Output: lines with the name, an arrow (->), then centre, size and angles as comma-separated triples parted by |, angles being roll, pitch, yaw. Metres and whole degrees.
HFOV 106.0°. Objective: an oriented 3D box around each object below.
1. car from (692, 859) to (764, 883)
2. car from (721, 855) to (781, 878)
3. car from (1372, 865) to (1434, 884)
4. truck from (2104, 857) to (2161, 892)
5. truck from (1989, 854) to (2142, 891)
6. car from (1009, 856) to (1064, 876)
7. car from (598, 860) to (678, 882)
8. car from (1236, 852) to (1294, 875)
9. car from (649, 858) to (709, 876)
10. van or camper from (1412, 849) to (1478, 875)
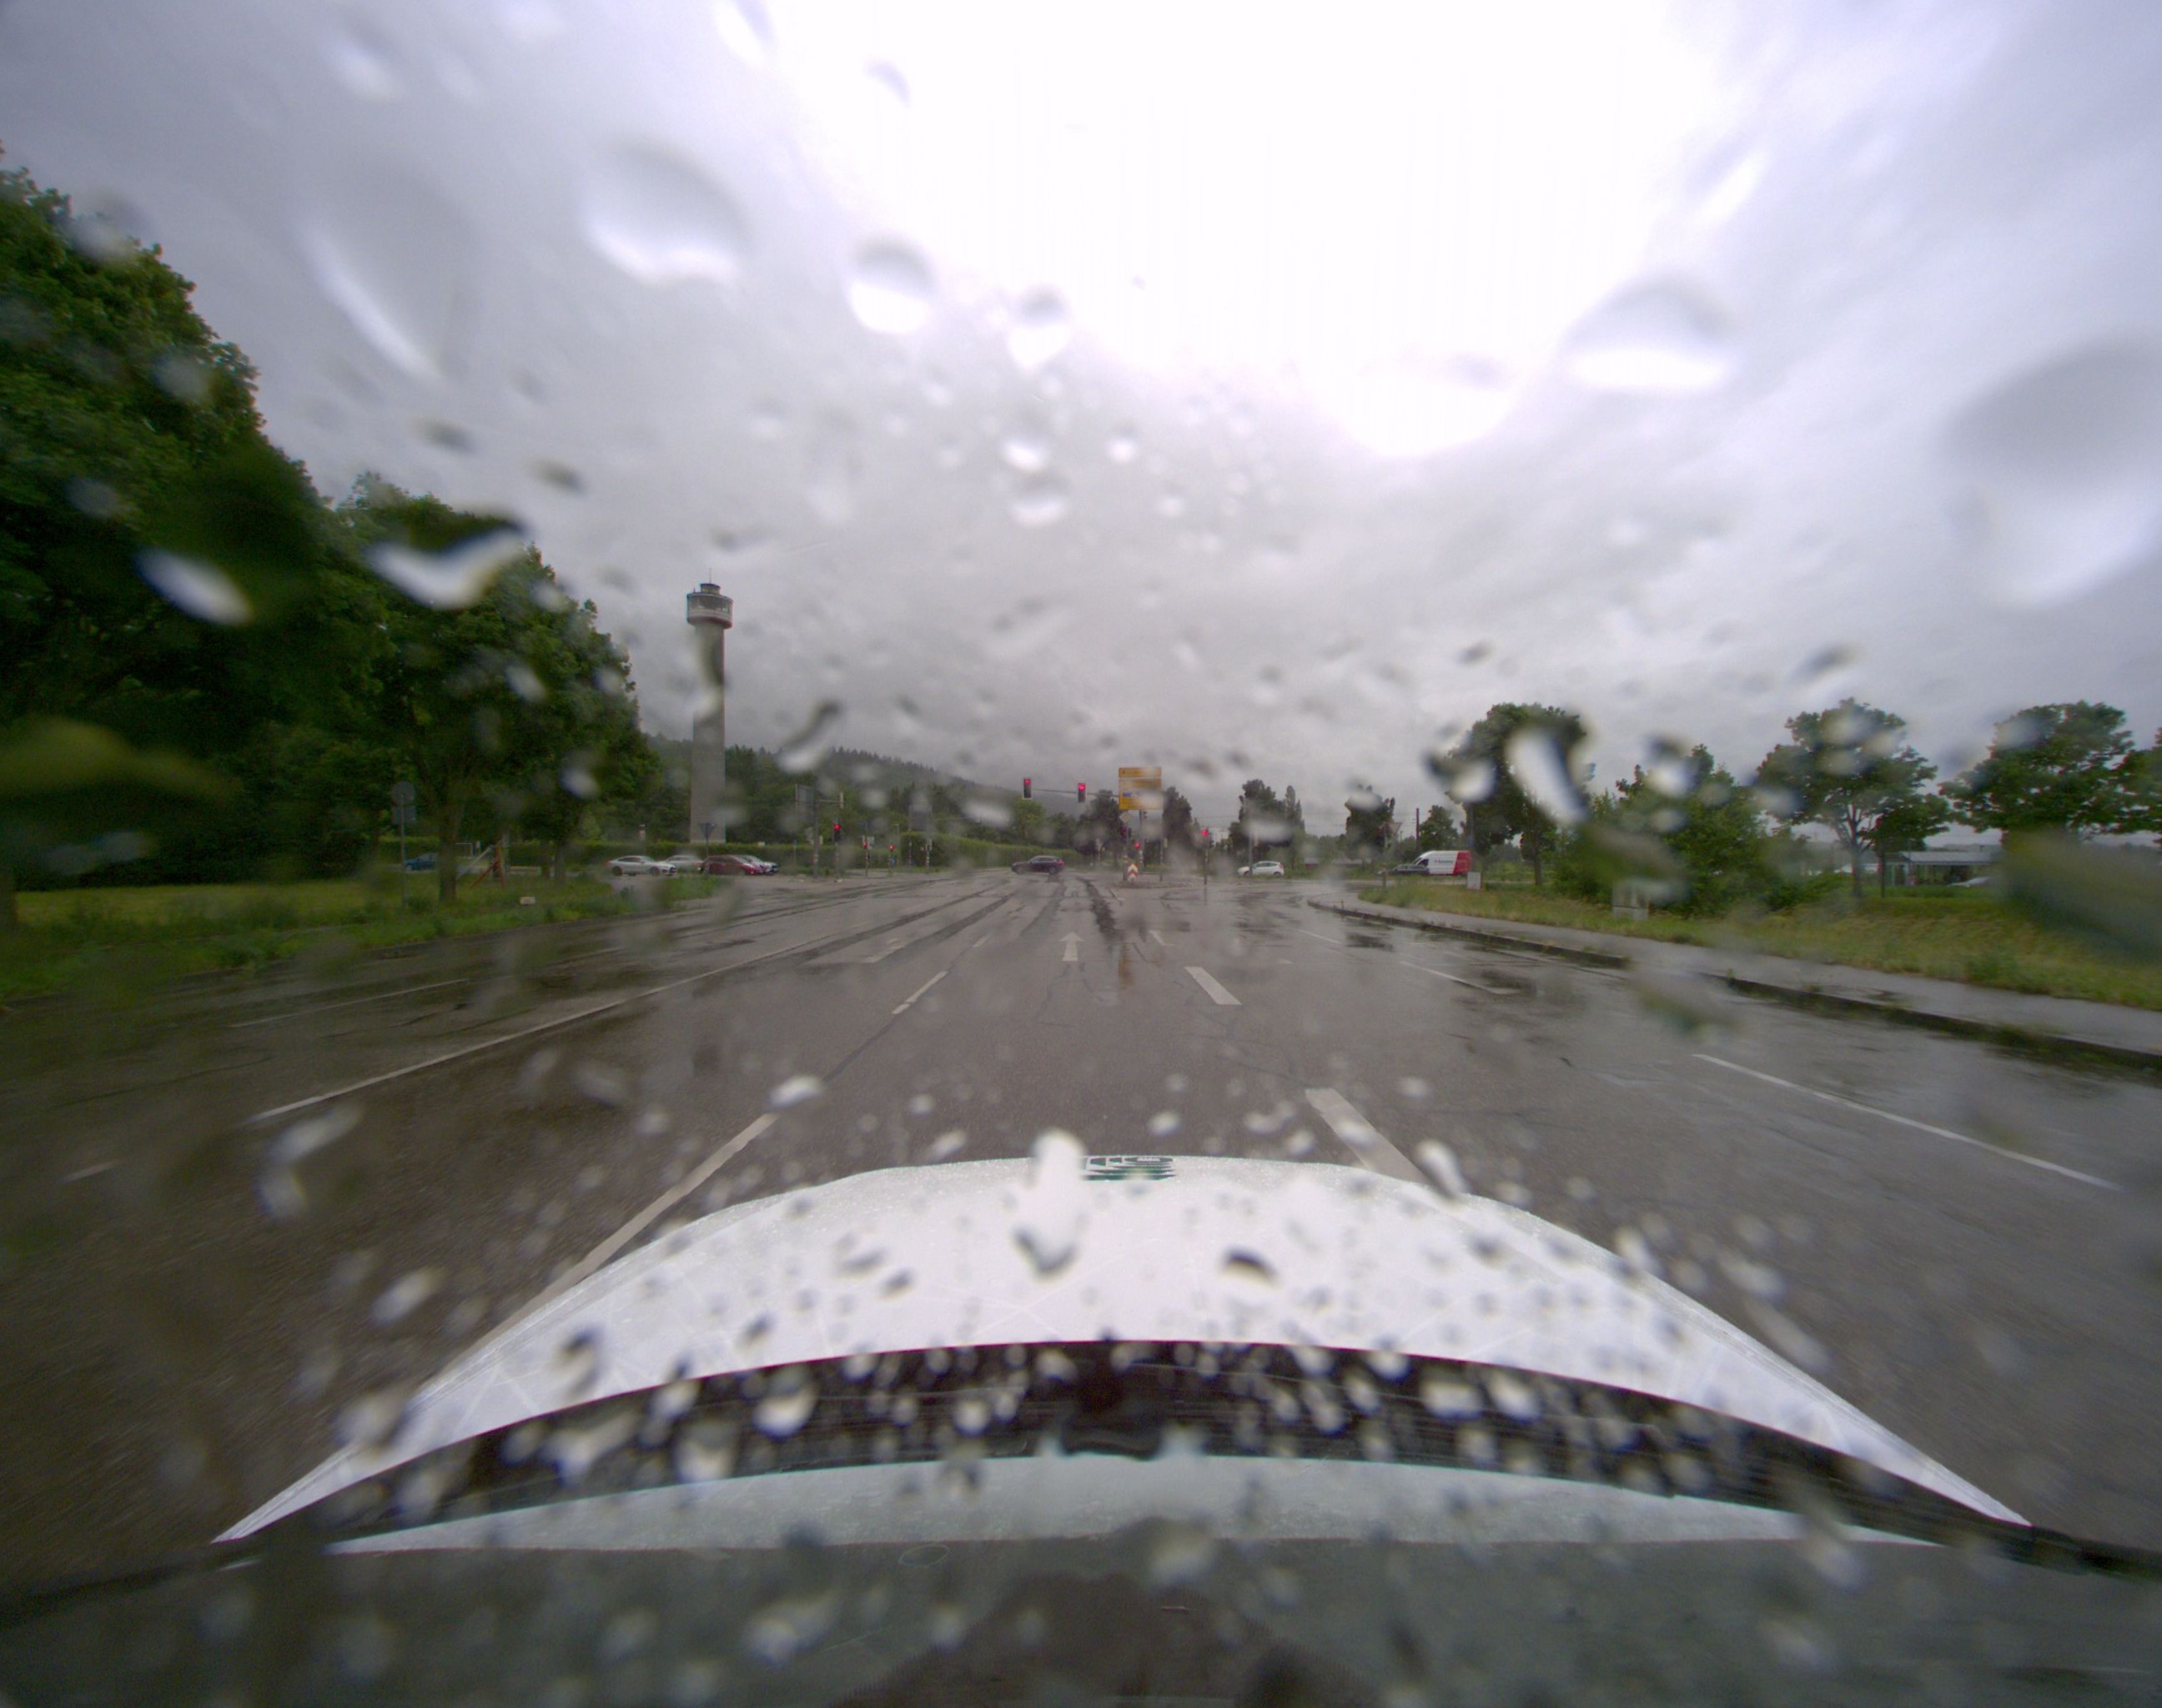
car -> -24.945, 1.185, 57.610 | 4.352, 1.579, 1.736 | 0, 0, 6
car -> -24.806, 0.916, 61.356 | 3.781, 1.711, 1.749 | 0, 0, 7
car -> 27.173, 1.758, 68.877 | 4.643, 1.553, 1.827 | 0, 0, 8
truck -> 90.068, 1.738, 66.355 | 9.275, 2.772, 2.660 | 1, 0, 5
truck -> 81.088, 1.502, 67.203 | 8.775, 2.832, 2.660 | 1, 0, 5
car -> -3.856, 1.040, 71.179 | 4.650, 1.639, 1.824 | 0, 0, 2
car -> -31.554, 1.185, 58.065 | 4.856, 1.553, 1.803 | 0, 0, 6
car -> 15.701, 0.838, 69.596 | 4.647, 1.915, 1.918 | 0, 0, 5
car -> -35.081, 1.138, 71.220 | 4.375, 1.579, 1.727 | 0, 0, -10
van or camper -> 31.949, 0.677, 71.548 | 4.827, 2.169, 2.163 | 0, 0, 4
